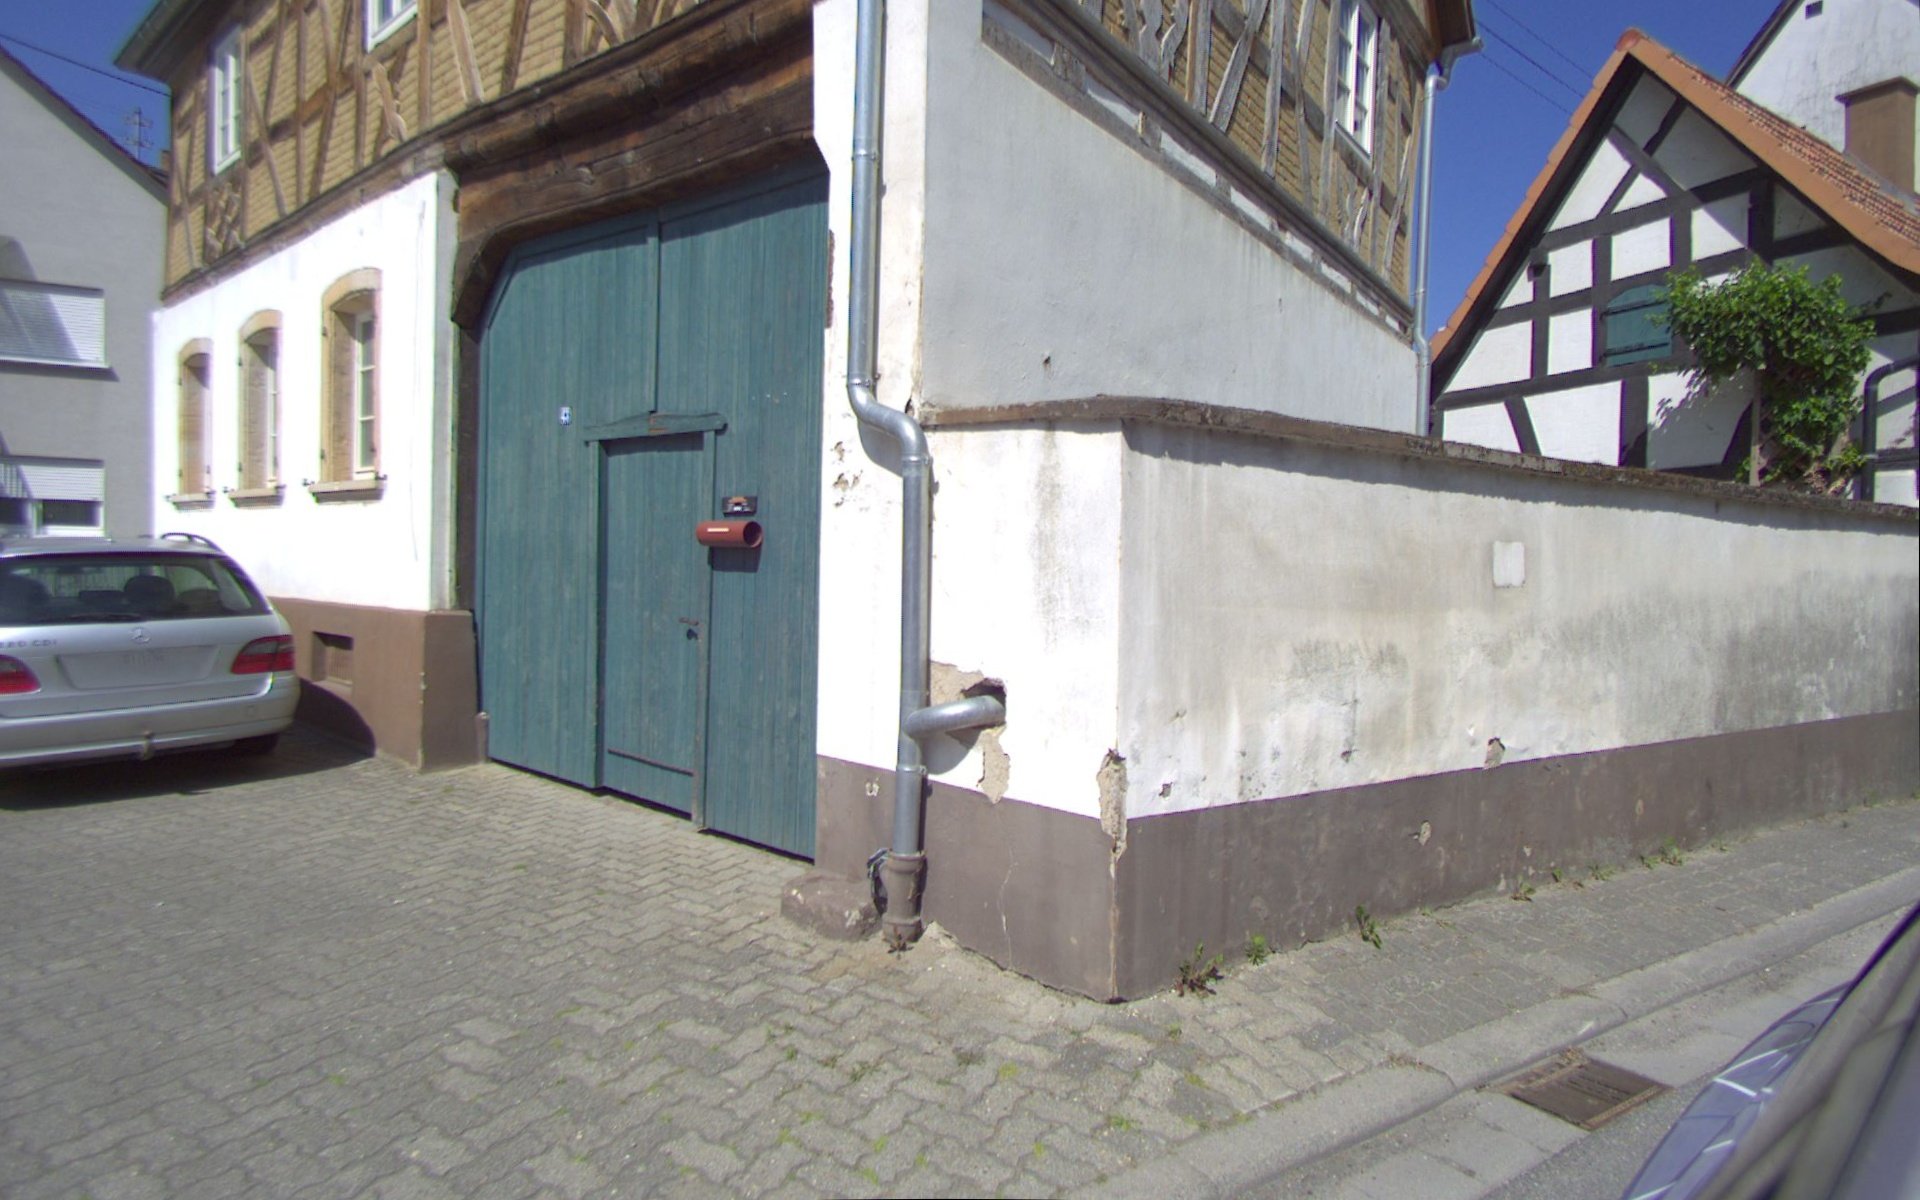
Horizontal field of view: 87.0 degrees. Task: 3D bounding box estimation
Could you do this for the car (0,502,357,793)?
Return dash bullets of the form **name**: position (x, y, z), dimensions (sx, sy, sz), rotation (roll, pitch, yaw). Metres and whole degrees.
- **car**: position (-6.241, 0.152, 7.155), dimensions (4.746, 1.470, 1.971), rotation (2, 3, 40)
